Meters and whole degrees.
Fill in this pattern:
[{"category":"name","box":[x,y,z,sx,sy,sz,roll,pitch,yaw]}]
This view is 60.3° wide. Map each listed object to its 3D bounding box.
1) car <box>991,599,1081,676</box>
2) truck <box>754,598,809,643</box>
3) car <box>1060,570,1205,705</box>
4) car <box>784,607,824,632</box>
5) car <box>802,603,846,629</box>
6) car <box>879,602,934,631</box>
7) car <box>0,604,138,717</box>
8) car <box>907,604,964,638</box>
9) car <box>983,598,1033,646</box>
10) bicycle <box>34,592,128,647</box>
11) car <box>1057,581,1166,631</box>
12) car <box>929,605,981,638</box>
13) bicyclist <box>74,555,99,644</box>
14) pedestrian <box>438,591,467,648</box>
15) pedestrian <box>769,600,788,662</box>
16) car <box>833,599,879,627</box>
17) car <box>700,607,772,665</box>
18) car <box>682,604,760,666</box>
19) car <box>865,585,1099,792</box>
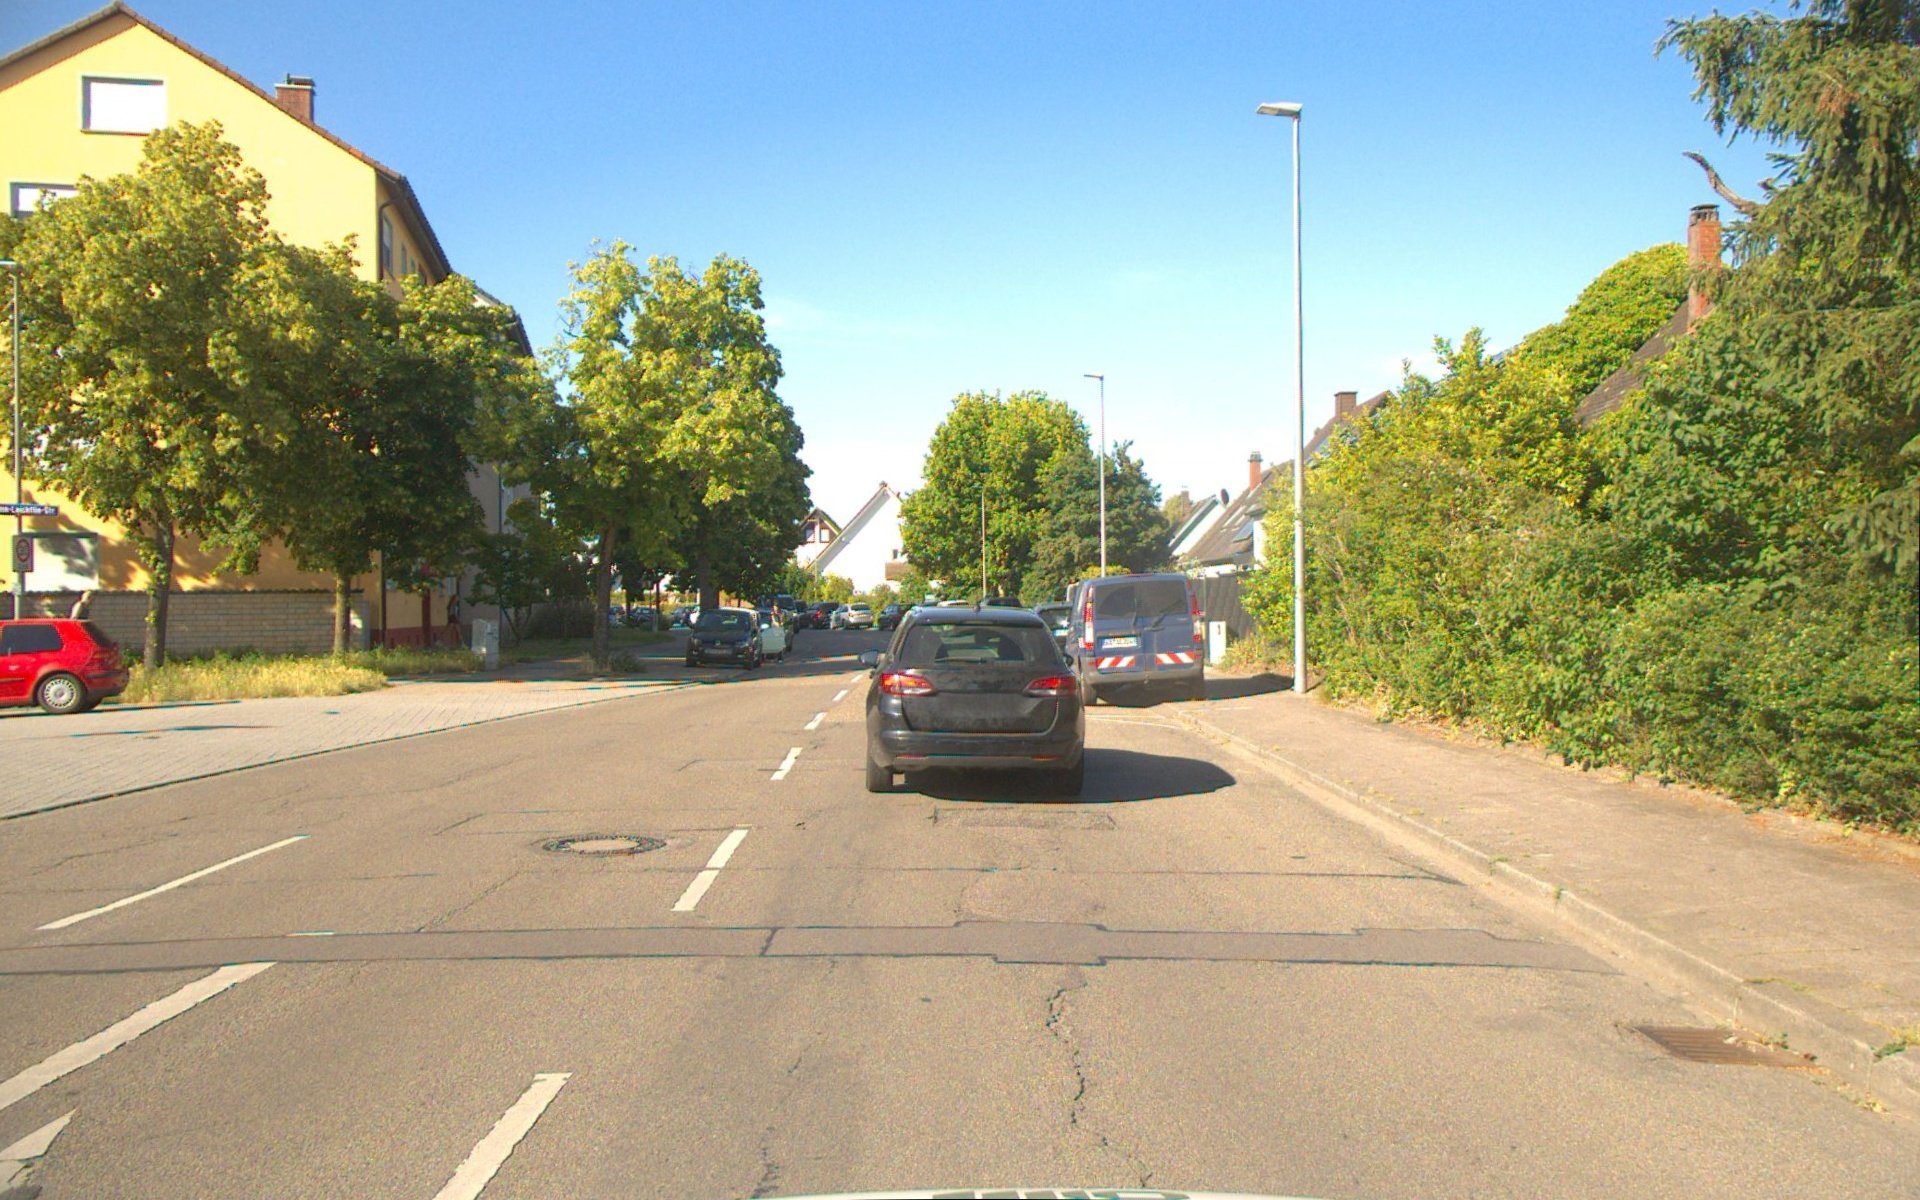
[{"category":"car","box":[1.651,0.792,37.243,1.729,1.506,4.991,-3,0,0]},{"category":"truck","box":[-10.143,1.142,94.339,2.085,2.375,6.444,-2,0,2]},{"category":"car","box":[2.656,0.543,26.443,1.799,1.941,4.697,-1,0,0]},{"category":"car","box":[-10.324,1.325,109.173,1.791,1.561,4.238,-2,-1,-17]},{"category":"car","box":[-8.530,1.028,103.501,1.791,1.561,4.238,-2,-1,-17]},{"category":"car","box":[-2.942,0.928,89.997,1.974,1.501,4.274,-2,-1,-17]},{"category":"car","box":[-14.774,0.887,24.610,4.314,1.596,2.007,0,1,-20]},{"category":"car","box":[-1.285,1.073,84.352,1.879,1.628,4.277,-2,-1,-15]},{"category":"car","box":[1.838,0.851,64.089,1.742,1.754,4.293,-2,-1,-1]},{"category":"bicycle","box":[-17.166,0.370,32.309,1.602,1.028,0.402,-1,0,-33]},{"category":"car","box":[6.737,0.278,74.011,4.585,2.018,2.142,-2,-1,-1]},{"category":"car","box":[-0.261,1.040,79.746,1.729,1.506,4.282,-2,-1,-11]},{"category":"bicyclist","box":[-17.090,-0.009,32.369,0.384,1.715,0.378,0,-3,-33]},{"category":"pedestrian","box":[-16.055,0.615,52.324,0.671,1.748,0.720,-2,-2,-1]},{"category":"pedestrian","box":[-5.344,0.919,48.761,0.494,1.792,0.694,-2,-2,-4]},{"category":"car","box":[-6.230,0.775,98.628,1.791,1.561,4.238,-2,-1,-17]},{"category":"car","box":[-6.494,1.054,48.242,1.667,1.550,4.049,-3,-2,-3]},{"category":"car","box":[-6.123,0.913,42.686,1.667,1.506,4.048,1,-2,-4]},{"category":"car","box":[0.132,0.673,14.353,1.726,1.517,4.290,0,-1,-1]}]
